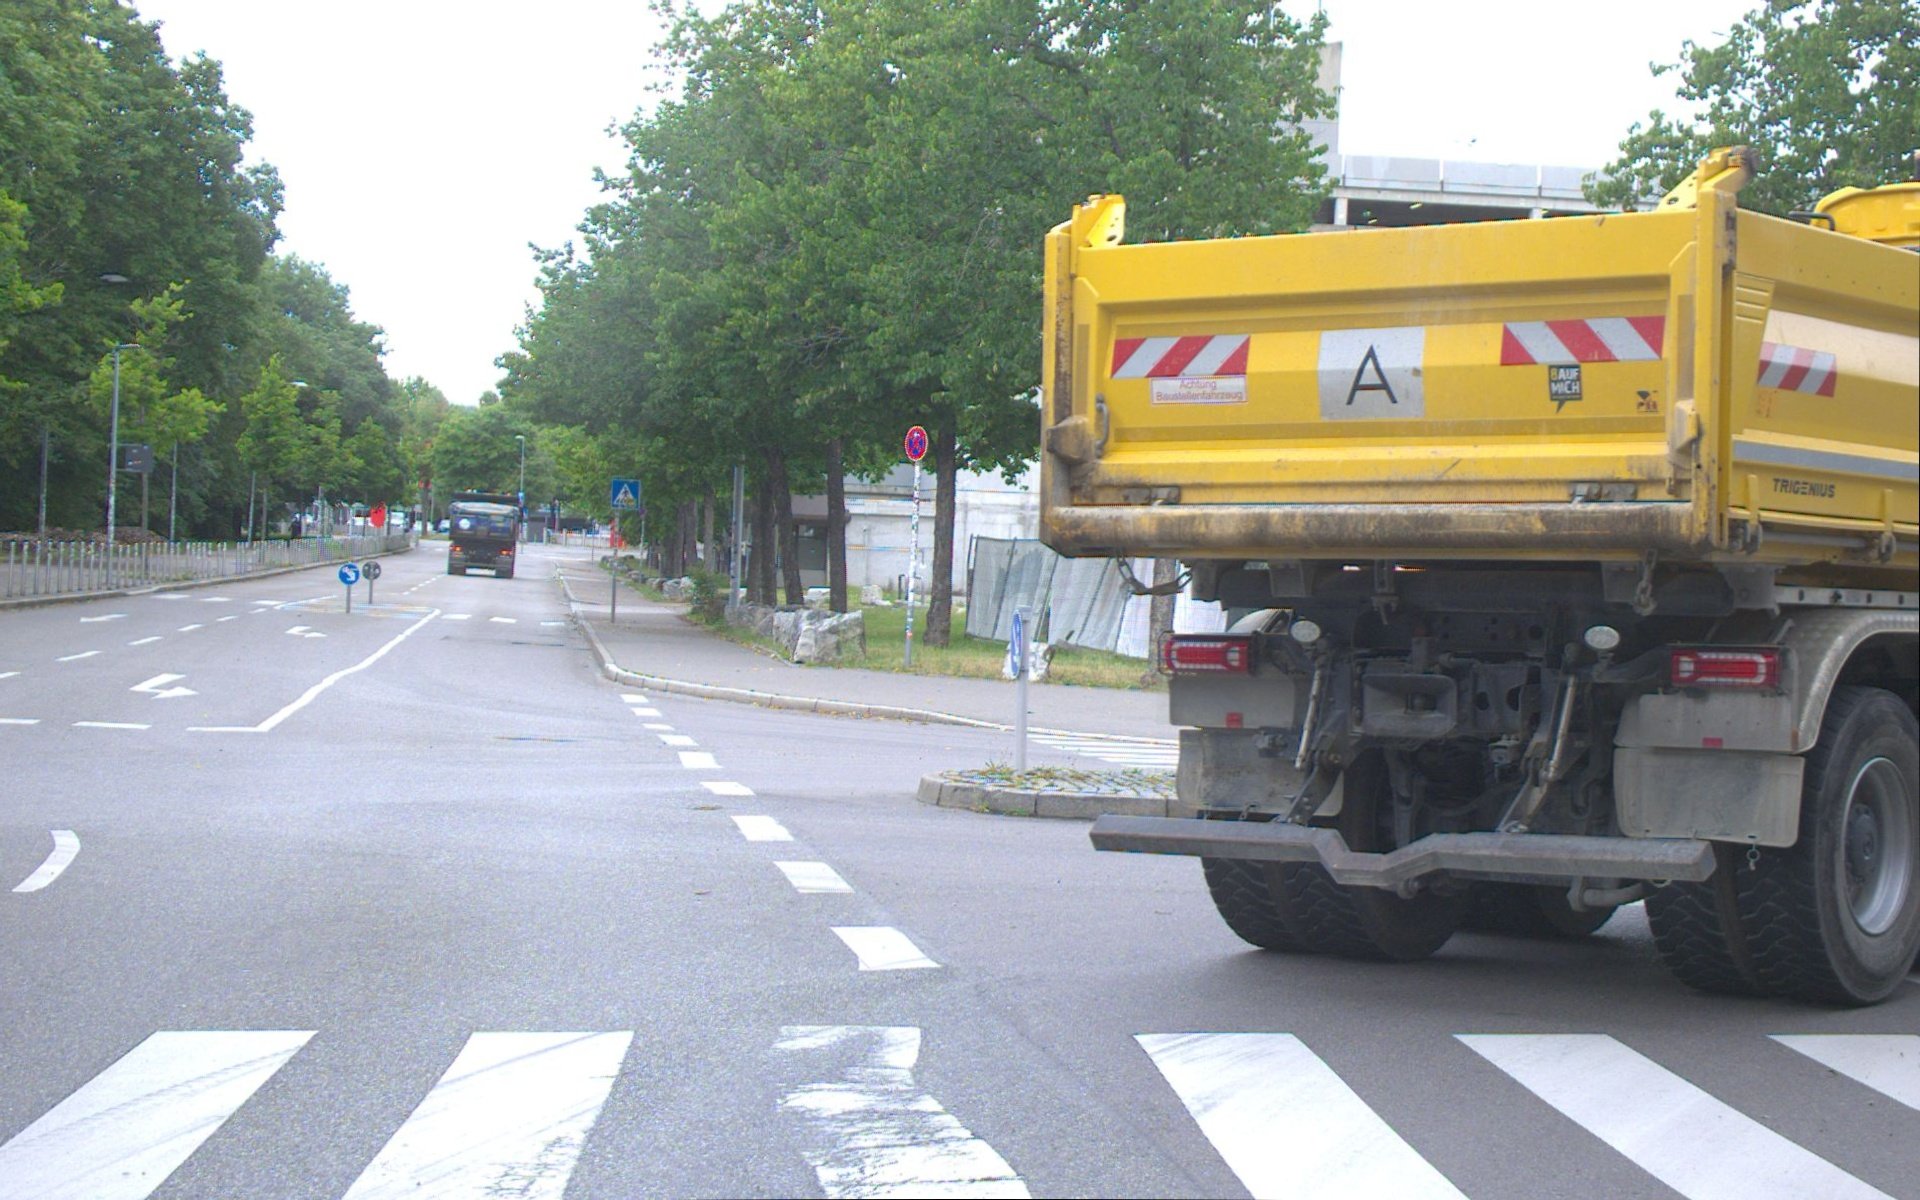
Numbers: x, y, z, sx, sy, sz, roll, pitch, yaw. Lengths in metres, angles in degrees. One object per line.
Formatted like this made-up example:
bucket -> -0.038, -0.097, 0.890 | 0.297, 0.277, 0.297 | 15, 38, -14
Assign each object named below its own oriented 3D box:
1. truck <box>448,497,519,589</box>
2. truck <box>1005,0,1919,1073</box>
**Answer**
truck -> -18.840, -2.215, 135.950 | 2.672, 3.546, 7.925 | 0, 0, -8
truck -> 3.629, -0.476, 14.183 | 2.764, 3.686, 7.863 | 0, 1, 37
